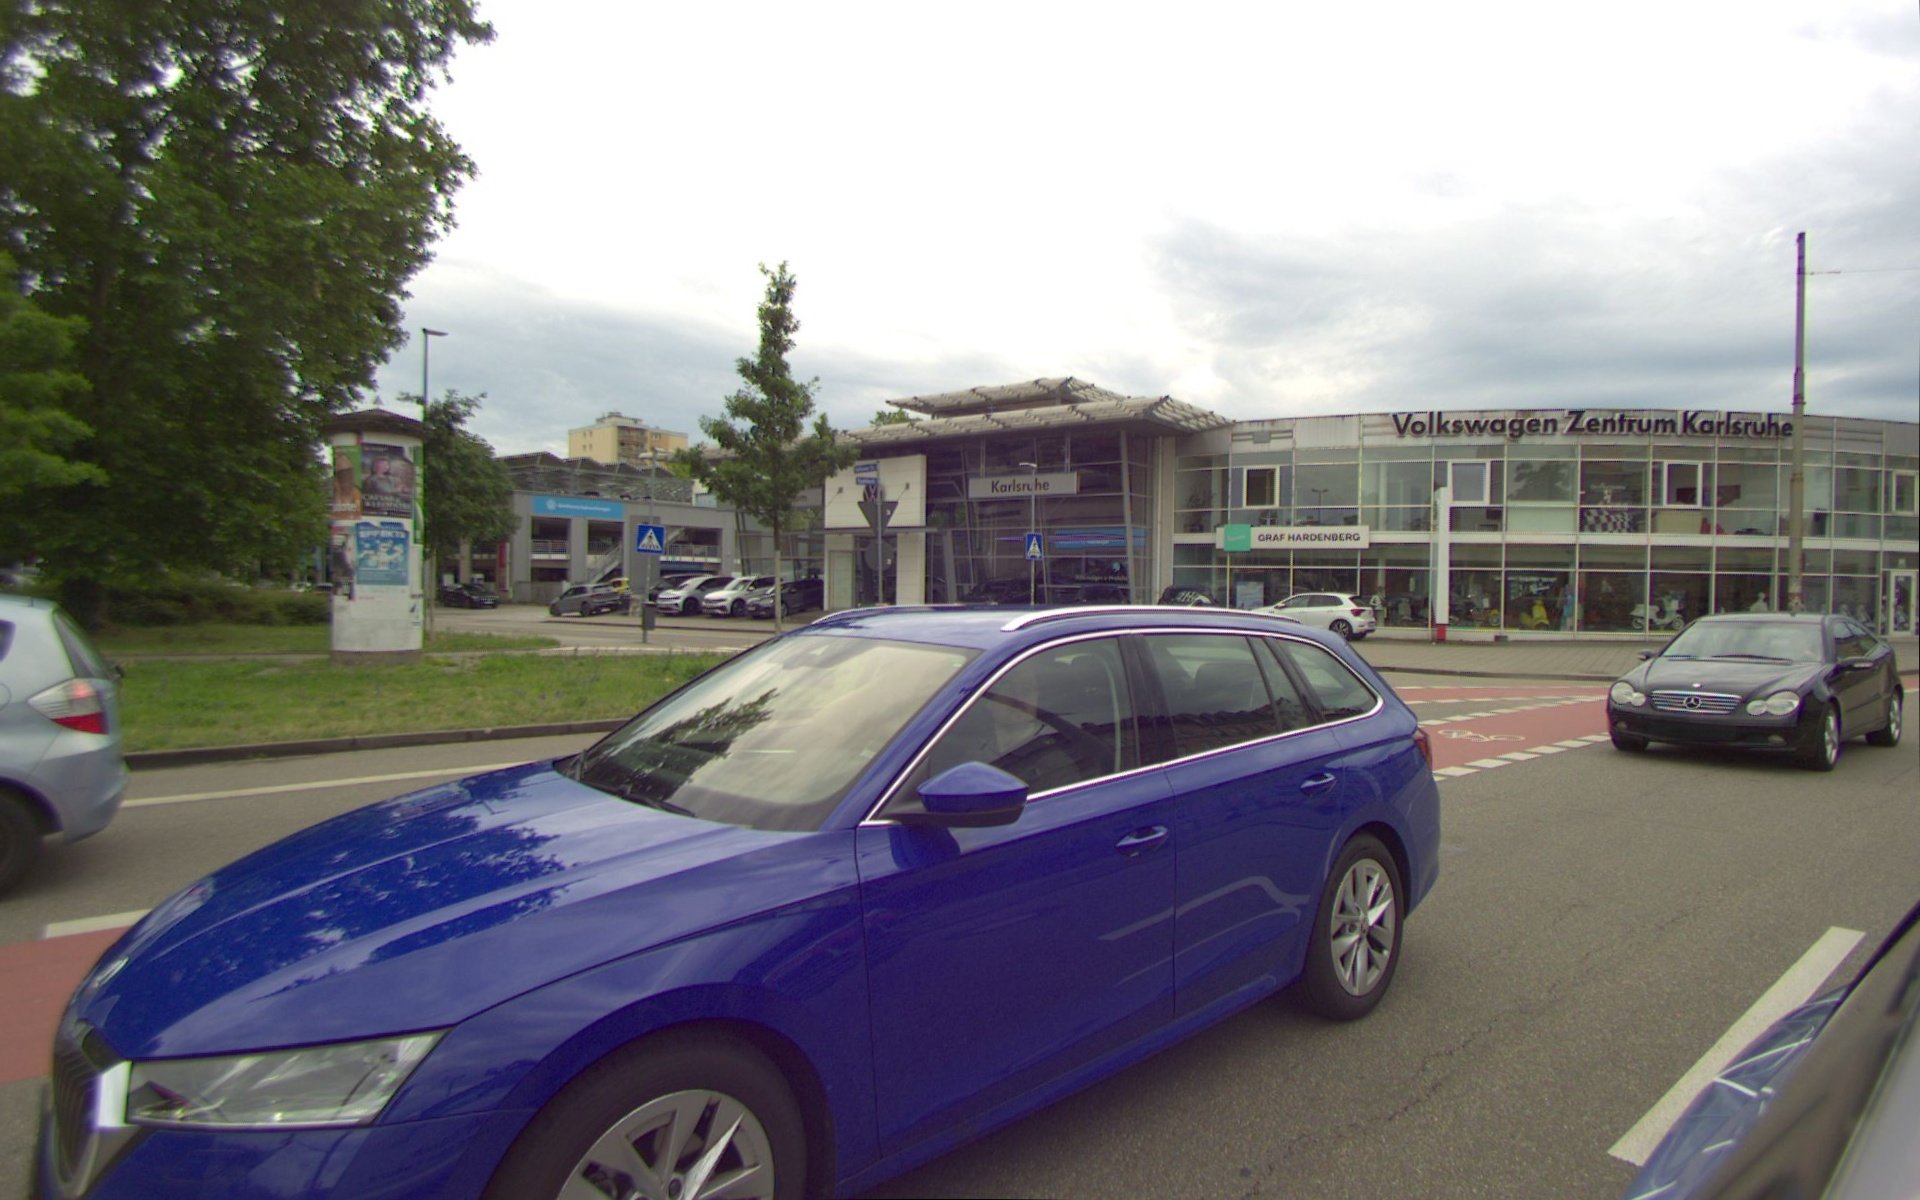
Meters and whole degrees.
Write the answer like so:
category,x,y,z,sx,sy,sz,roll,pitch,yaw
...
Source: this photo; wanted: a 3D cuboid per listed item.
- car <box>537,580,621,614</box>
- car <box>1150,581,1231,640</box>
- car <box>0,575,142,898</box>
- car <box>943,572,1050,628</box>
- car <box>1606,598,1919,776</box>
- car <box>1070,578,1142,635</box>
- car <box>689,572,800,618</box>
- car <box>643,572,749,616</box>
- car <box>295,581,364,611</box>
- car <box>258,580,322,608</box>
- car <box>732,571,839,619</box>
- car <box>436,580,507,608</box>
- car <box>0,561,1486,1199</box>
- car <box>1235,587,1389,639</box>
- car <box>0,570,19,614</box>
category,x,y,z,sx,sy,sz,roll,pitch,yaw
car,-18.640,-0.154,49.492,3.988,1.583,1.896,0,2,35
car,7.354,0.282,32.739,1.867,1.581,4.219,1,3,4
car,-6.129,0.619,4.338,4.027,1.485,1.752,0,1,-41
car,1.366,-0.047,35.871,1.846,1.652,4.464,0,4,31
car,8.345,0.725,10.362,3.996,1.439,1.714,0,1,-39
car,4.707,0.161,33.121,1.824,1.522,4.340,0,4,2
car,-9.401,-0.267,44.591,1.850,1.719,4.716,0,4,36
car,-11.982,-0.322,46.185,1.859,1.719,4.419,0,4,37
car,-37.065,-0.275,59.498,4.446,1.643,1.838,2,2,35
car,-41.720,-0.401,62.972,4.446,1.643,1.838,2,2,35
car,-7.318,-0.242,42.845,1.886,1.717,4.421,0,4,36
car,-28.988,-0.391,60.044,4.446,1.567,1.876,2,2,35
car,-0.113,0.662,3.341,4.387,1.507,1.783,-1,2,-41
car,11.011,0.361,31.788,4.243,1.471,1.757,1,1,40
car,-36.502,-0.322,36.330,4.408,1.567,1.854,1,1,13
